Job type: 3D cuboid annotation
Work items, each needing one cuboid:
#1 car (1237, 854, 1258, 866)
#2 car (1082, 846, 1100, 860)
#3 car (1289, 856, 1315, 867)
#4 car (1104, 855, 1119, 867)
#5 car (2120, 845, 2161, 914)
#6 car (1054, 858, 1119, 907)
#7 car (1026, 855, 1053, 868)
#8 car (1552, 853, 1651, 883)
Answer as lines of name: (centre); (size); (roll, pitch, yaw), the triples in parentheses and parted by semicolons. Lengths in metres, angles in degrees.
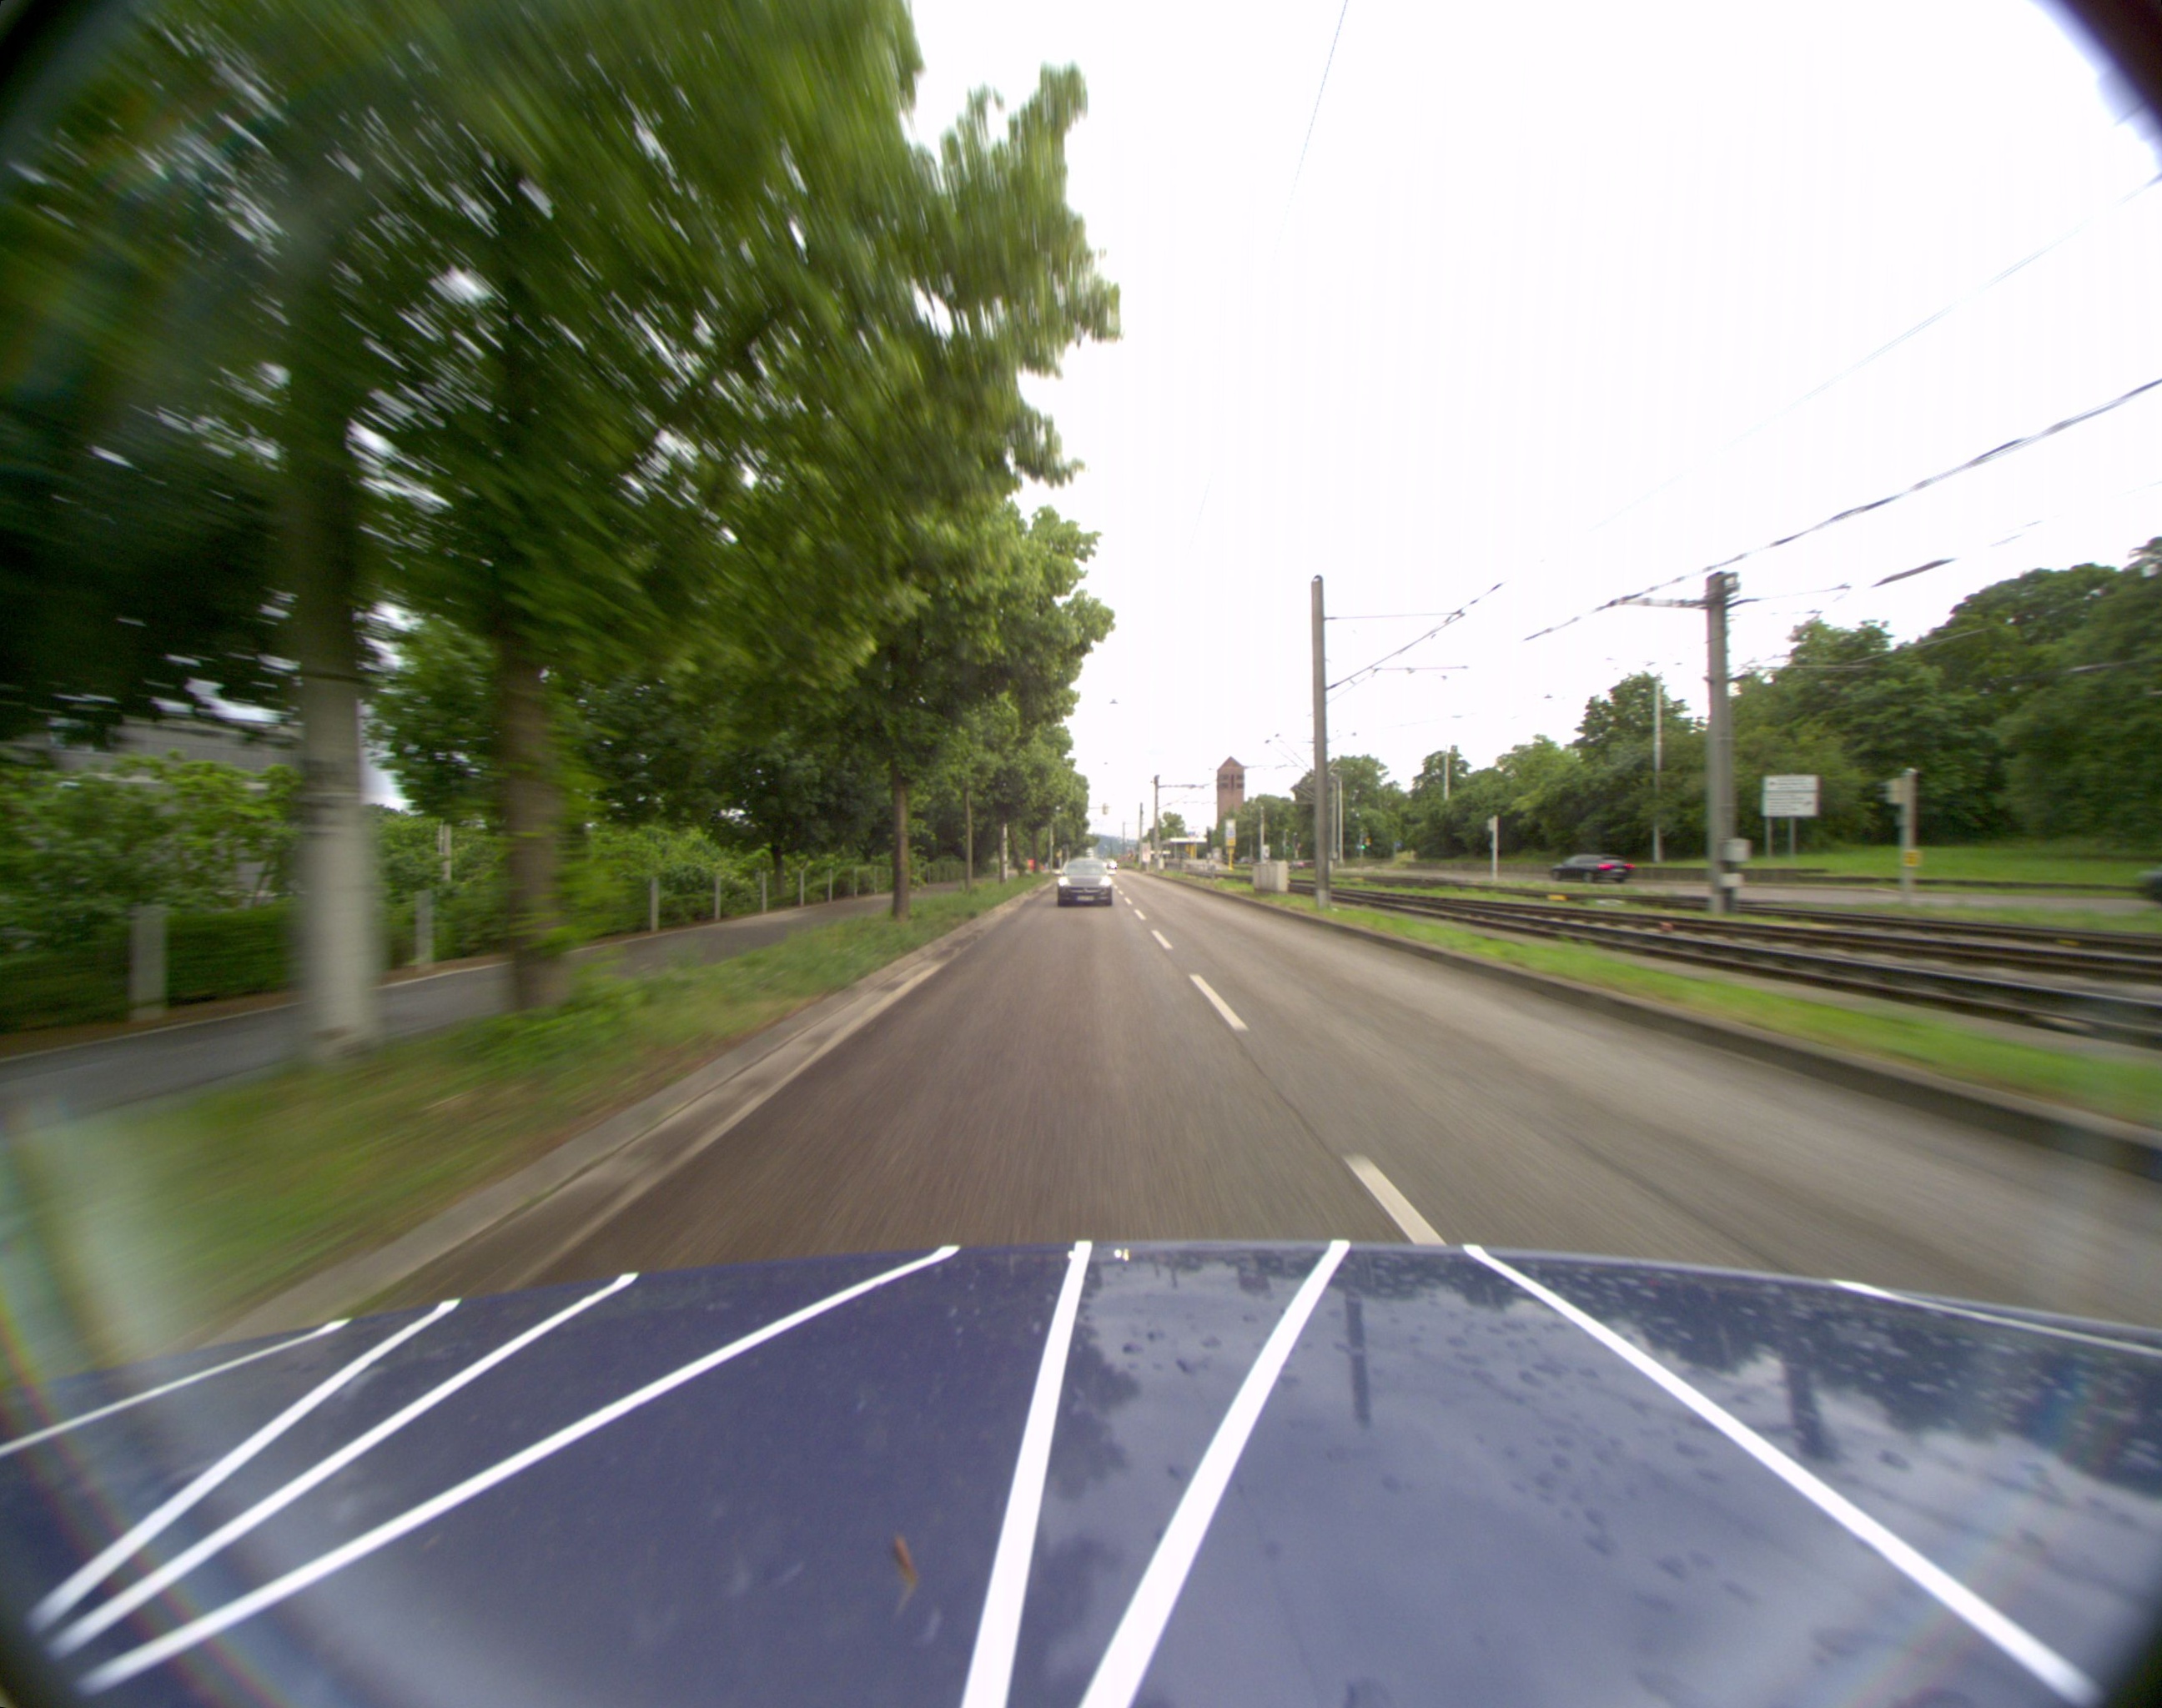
car: (24.570, 0.890, 112.060); (2.088, 1.728, 4.863); (0, 0, 0)
car: (1.166, -0.138, 89.436); (1.998, 1.608, 4.000); (-1, 0, 1)
car: (27.419, 0.927, 94.420); (1.932, 1.254, 4.474); (0, 0, 0)
car: (4.052, 0.921, 100.909); (1.899, 1.432, 4.247); (-1, -1, 1)
car: (25.673, 0.571, 15.466); (2.094, 1.579, 5.159); (0, 0, 2)
car: (0.196, 0.885, 24.913); (1.899, 1.432, 4.474); (-1, -1, 1)
car: (-7.817, 1.402, 142.141); (1.994, 2.179, 5.041); (-1, 0, 43)
car: (26.654, 0.694, 39.123); (1.931, 1.438, 4.682); (0, 0, 1)
